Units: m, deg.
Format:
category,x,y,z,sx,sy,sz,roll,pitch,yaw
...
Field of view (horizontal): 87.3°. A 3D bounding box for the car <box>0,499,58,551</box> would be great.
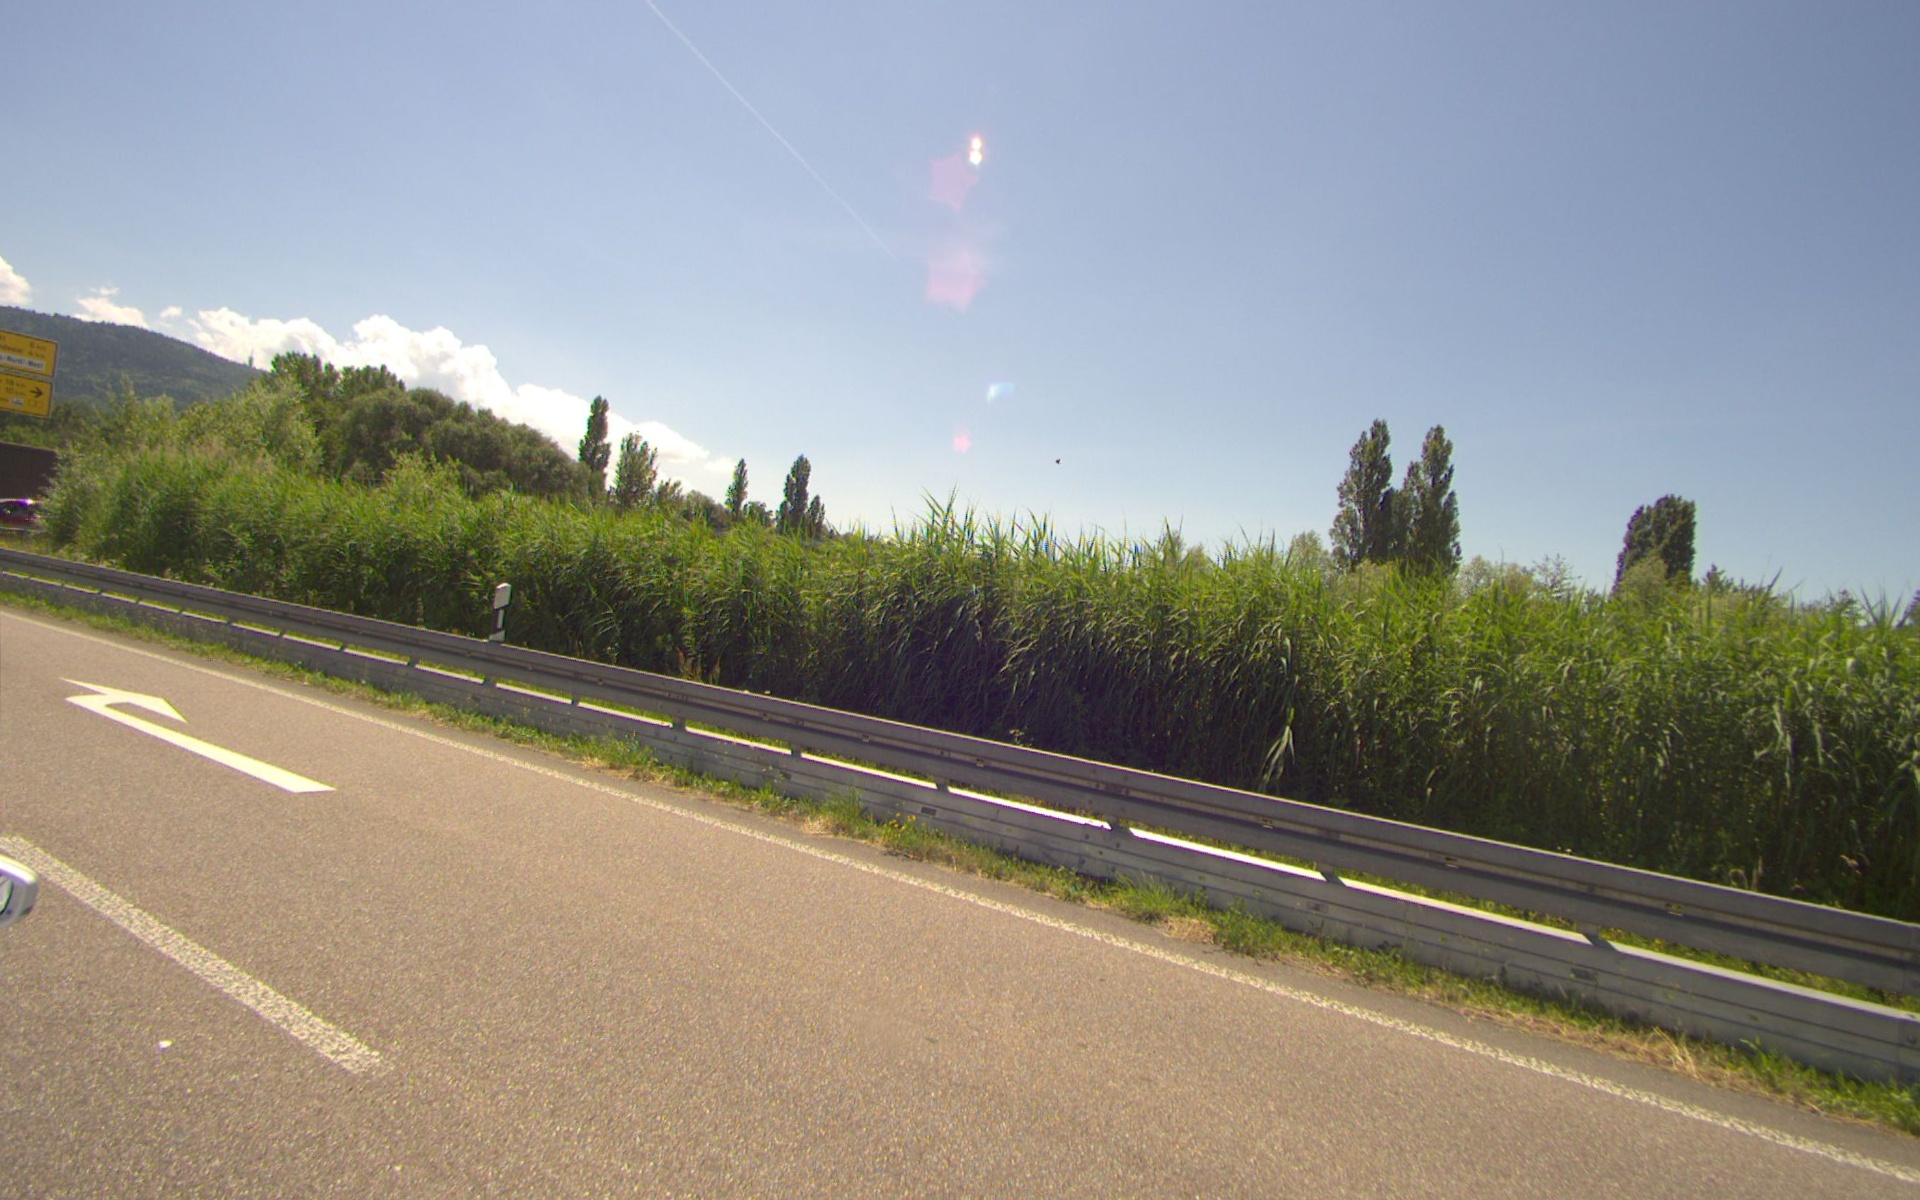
category,x,y,z,sx,sy,sz,roll,pitch,yaw
car,-36.342,-2.990,36.901,1.966,1.676,4.320,7,-2,28
